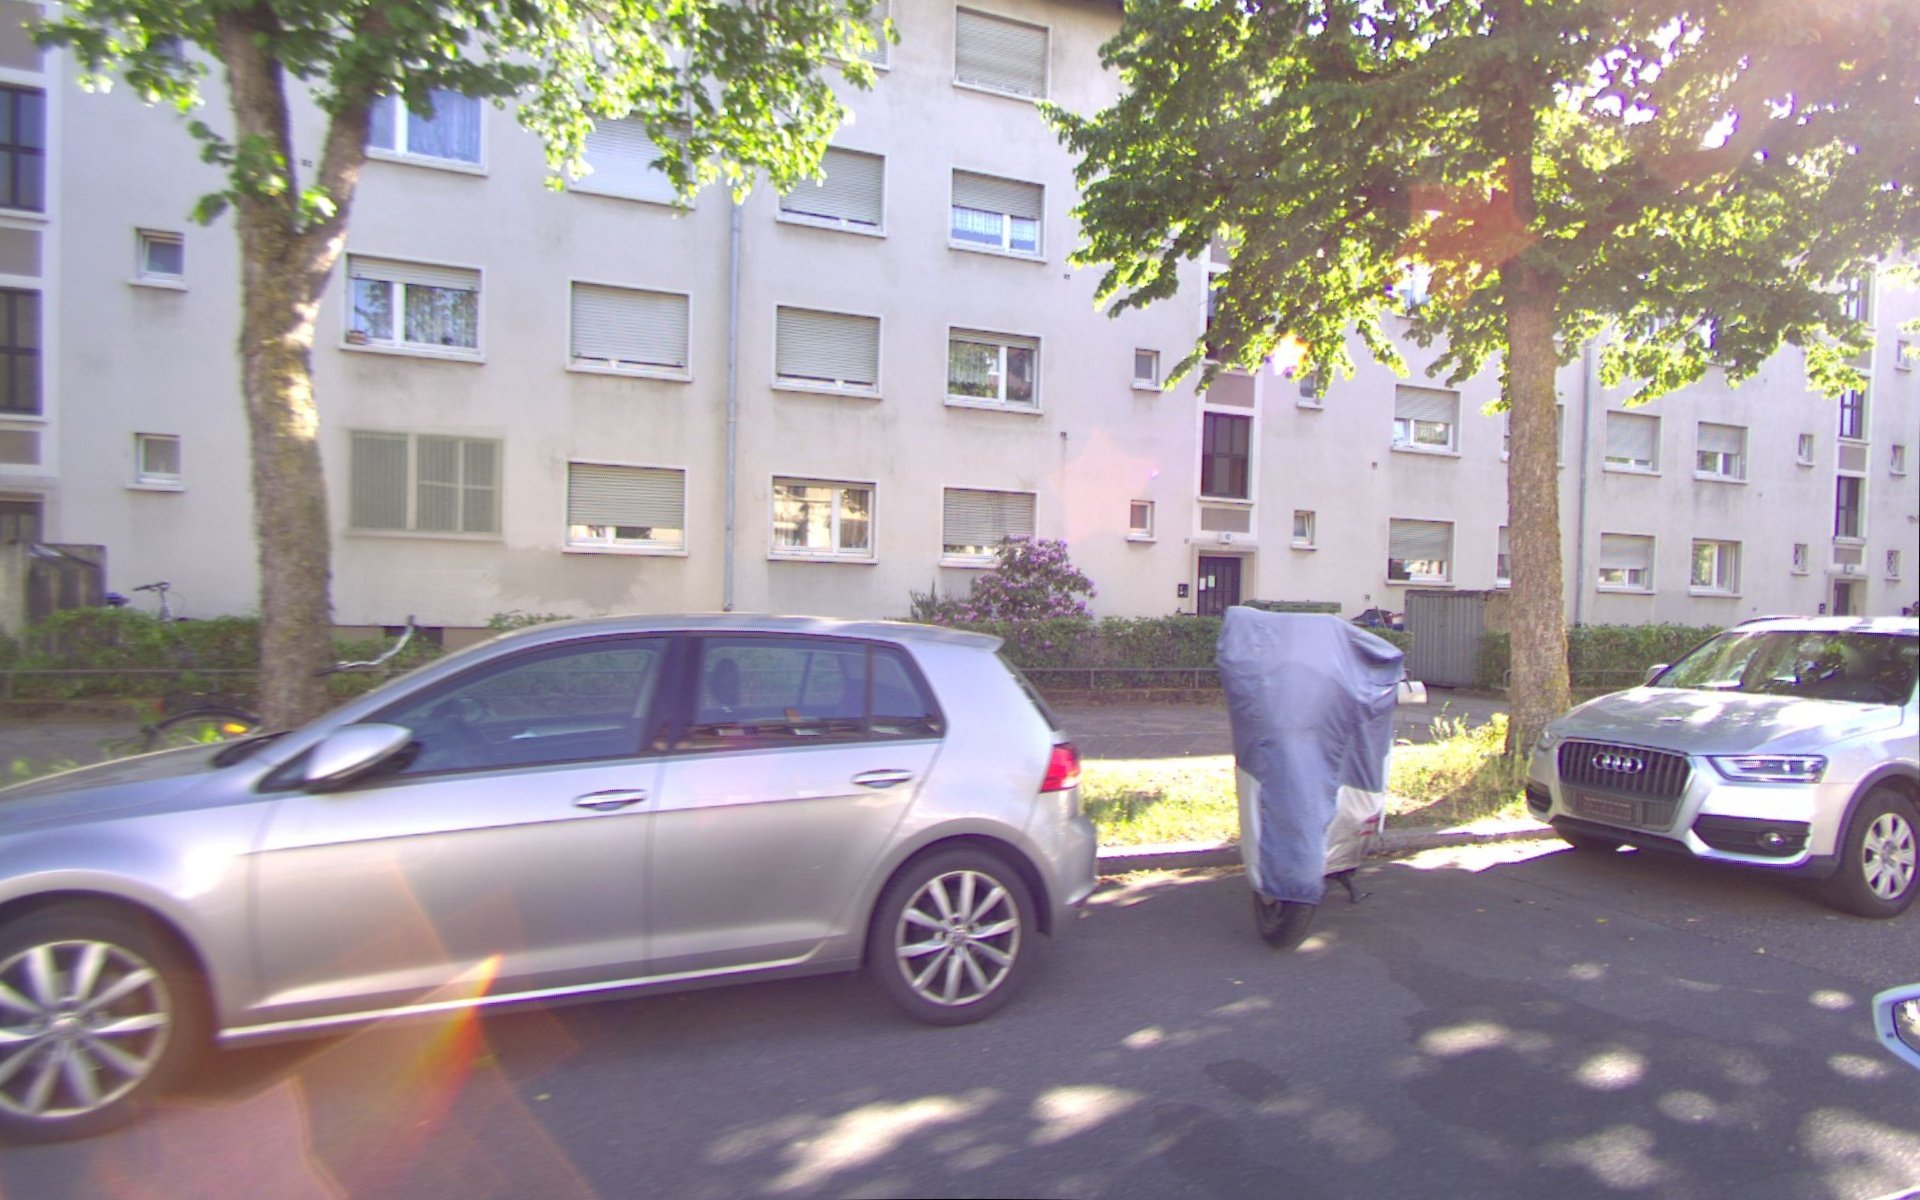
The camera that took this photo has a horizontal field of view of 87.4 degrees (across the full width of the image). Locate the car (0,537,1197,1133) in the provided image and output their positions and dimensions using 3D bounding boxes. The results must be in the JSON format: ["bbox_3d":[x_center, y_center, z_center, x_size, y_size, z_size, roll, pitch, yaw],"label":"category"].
[{"bbox_3d":[-1.594,0.625,3.976,4.534,1.544,2.041,1,0,-19],"label":"car"}]

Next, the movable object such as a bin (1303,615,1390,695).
[{"bbox_3d":[5.701,0.793,14.832,0.744,1.106,0.927,1,0,-25],"label":"movable object such as a bin"}]

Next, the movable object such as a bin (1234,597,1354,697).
[{"bbox_3d":[4.770,0.653,14.368,1.360,1.342,0.927,1,0,-25],"label":"movable object such as a bin"}]

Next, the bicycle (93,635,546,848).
[{"bbox_3d":[-3.477,0.764,5.658,2.055,1.029,0.530,1,8,-14],"label":"bicycle"}]

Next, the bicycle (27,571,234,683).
[{"bbox_3d":[-9.985,0.332,12.157,1.885,1.306,0.398,1,0,-21],"label":"bicycle"}]

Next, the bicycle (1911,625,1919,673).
[{"bbox_3d":[24.794,1.259,24.852,1.915,1.169,0.514,2,1,3],"label":"bicycle"}]

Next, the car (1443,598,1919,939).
[{"bbox_3d":[5.688,0.819,6.496,4.654,1.544,2.059,1,1,-23],"label":"car"}]

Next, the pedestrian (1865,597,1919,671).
[{"bbox_3d":[24.920,0.882,26.606,1.007,1.913,0.935,1,0,-7],"label":"pedestrian"}]

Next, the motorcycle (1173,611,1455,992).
[{"bbox_3d":[1.962,0.836,5.286,0.972,1.523,2.229,1,0,30],"label":"motorcycle"}]

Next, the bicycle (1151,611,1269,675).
[{"bbox_3d":[4.374,0.742,17.556,1.909,1.055,0.784,1,0,-24],"label":"bicycle"}]
